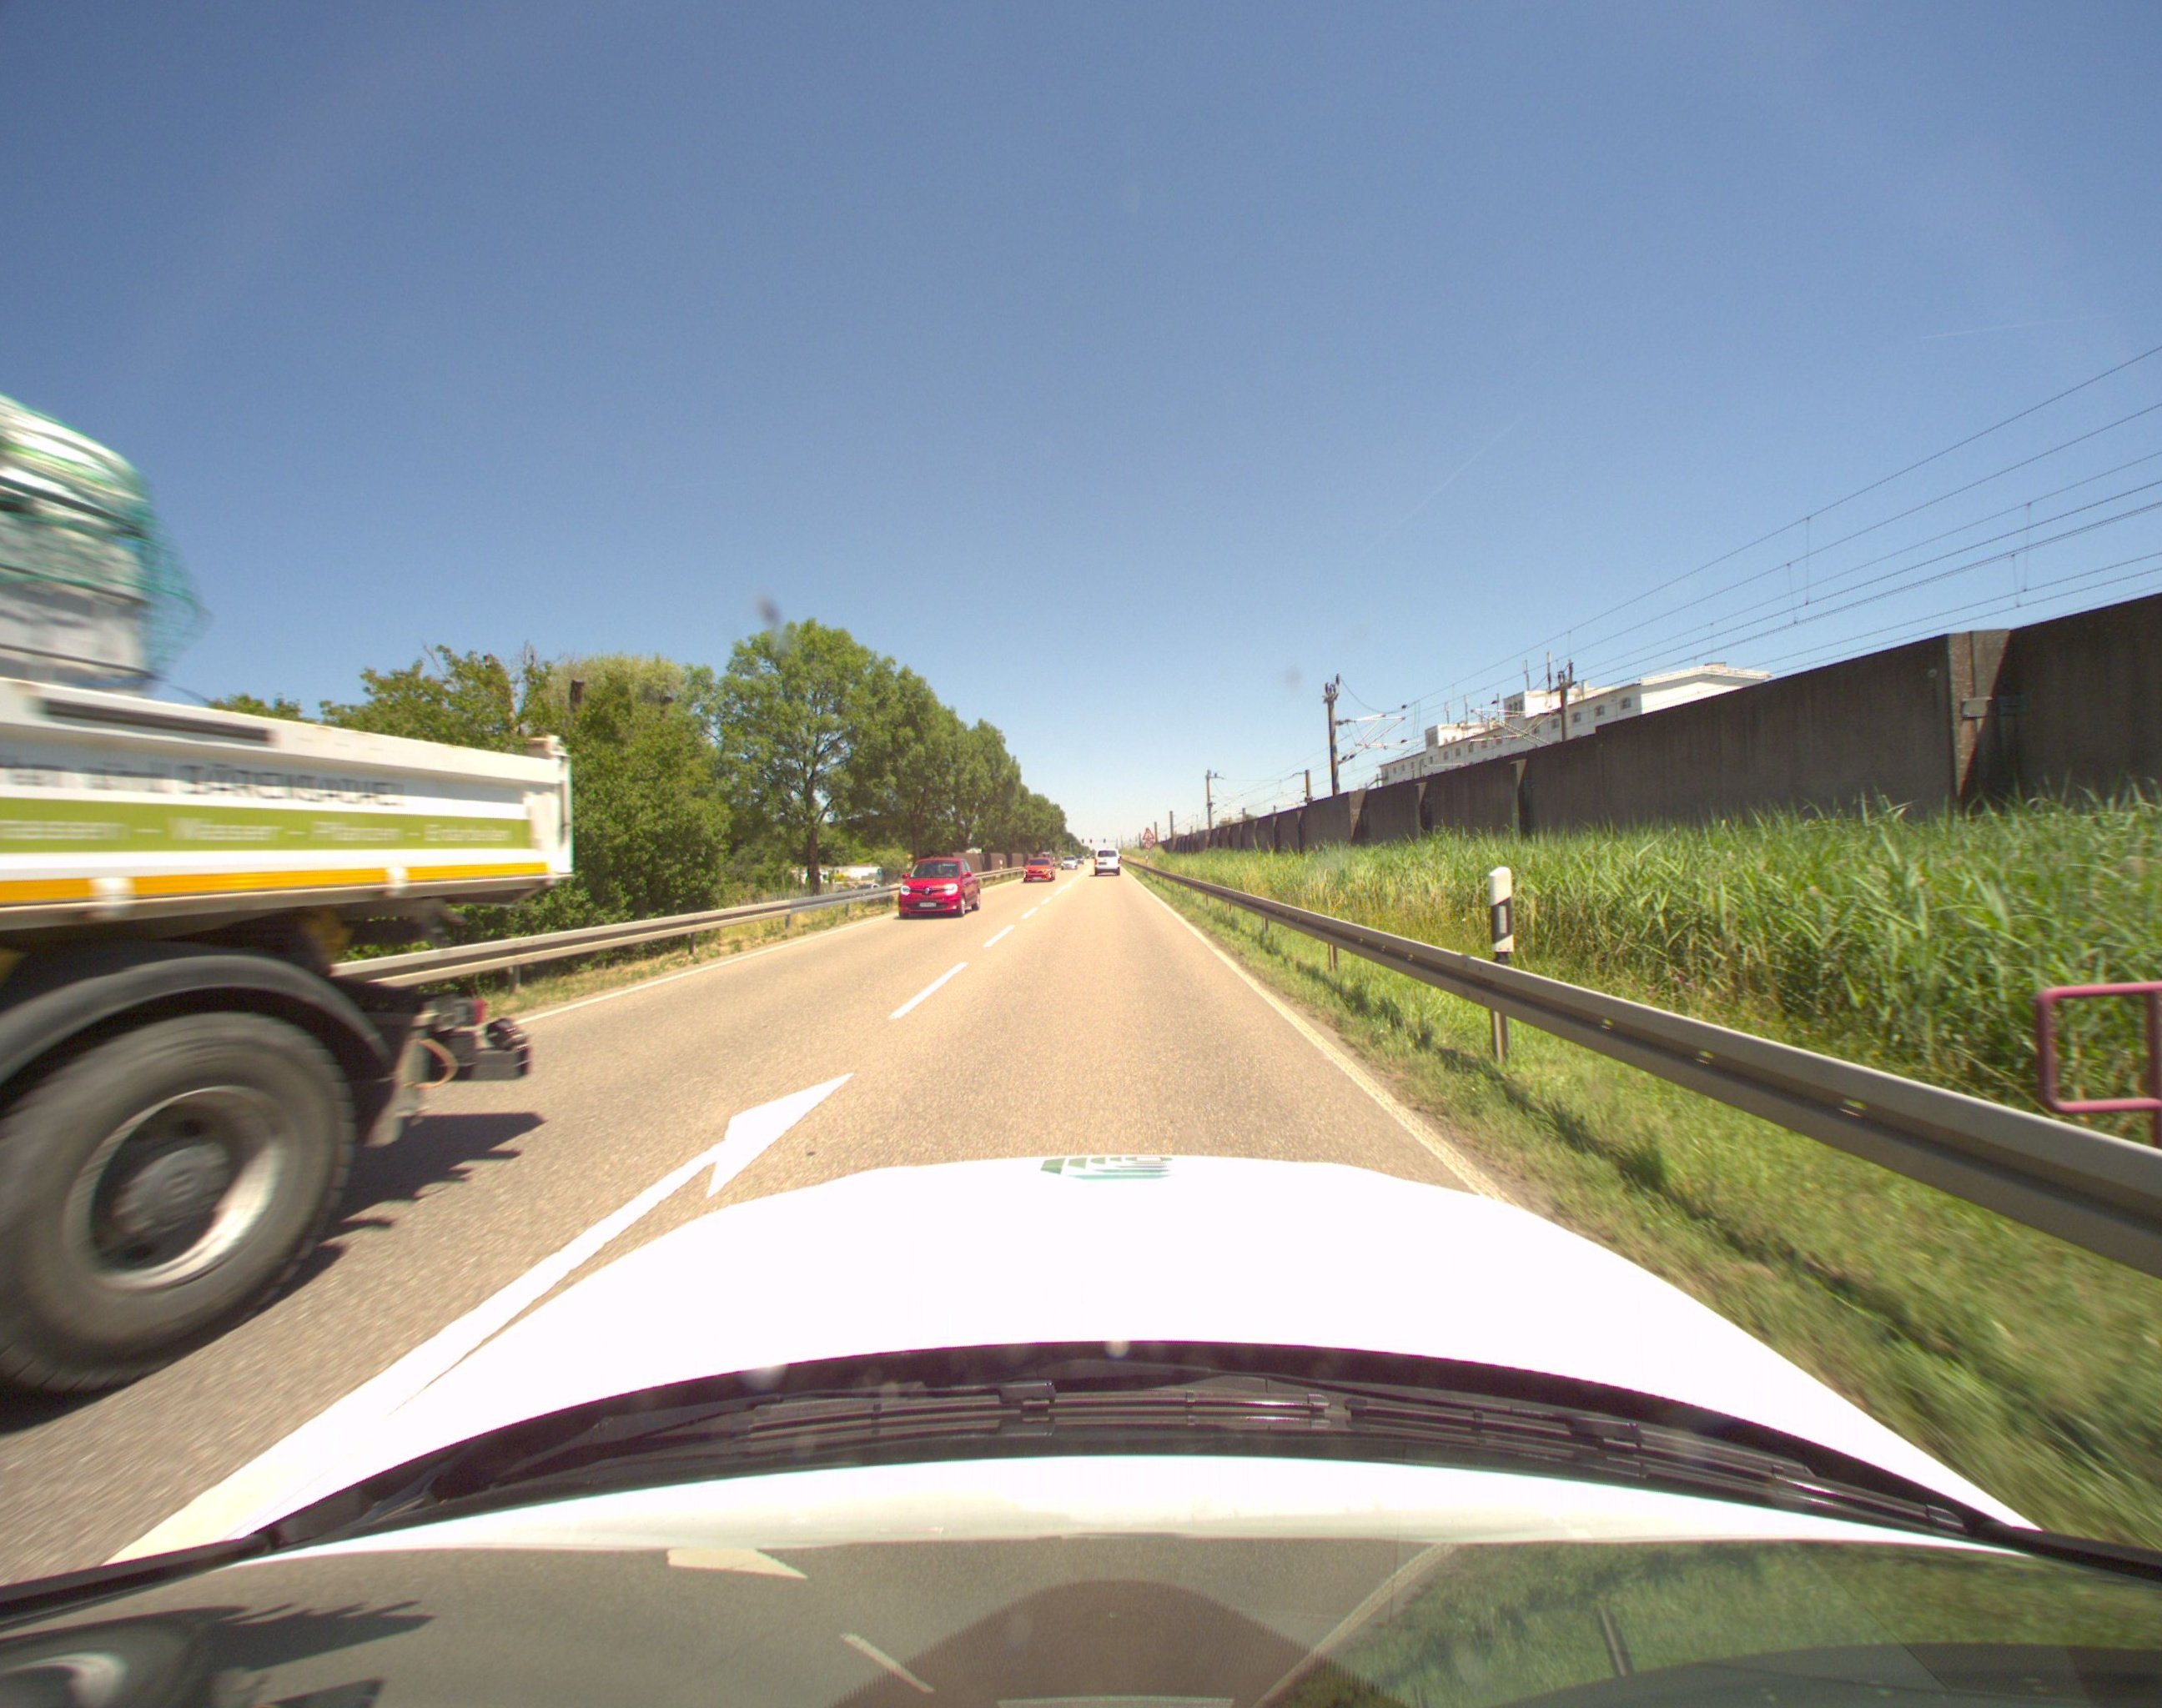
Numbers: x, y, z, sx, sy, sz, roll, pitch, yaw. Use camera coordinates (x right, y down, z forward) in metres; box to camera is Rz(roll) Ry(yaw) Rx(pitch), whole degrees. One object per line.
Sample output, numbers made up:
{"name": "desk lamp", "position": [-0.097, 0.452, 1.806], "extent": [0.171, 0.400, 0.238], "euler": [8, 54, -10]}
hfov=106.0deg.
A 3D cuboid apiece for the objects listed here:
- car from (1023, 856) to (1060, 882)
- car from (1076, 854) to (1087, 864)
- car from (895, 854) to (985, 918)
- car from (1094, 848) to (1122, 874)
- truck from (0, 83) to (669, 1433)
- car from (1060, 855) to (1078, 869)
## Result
{"name": "car", "position": [-2.338, 0.869, 49.172], "extent": [1.782, 1.421, 4.003], "euler": [-2, 0, 3]}
{"name": "car", "position": [0.053, 0.819, 136.201], "extent": [1.783, 1.525, 4.391], "euler": [-2, 0, 1]}
{"name": "car", "position": [-3.741, 0.809, 22.296], "extent": [1.647, 1.552, 4.001], "euler": [-2, 0, 1]}
{"name": "car", "position": [1.987, 0.483, 59.406], "extent": [1.986, 1.850, 4.002], "euler": [0, 0, 2]}
{"name": "truck", "position": [-4.134, -0.237, 1.214], "extent": [2.773, 3.405, 7.991], "euler": [0, 0, 1]}
{"name": "car", "position": [-1.309, 0.867, 90.826], "extent": [1.782, 1.525, 4.392], "euler": [-2, 0, 2]}
